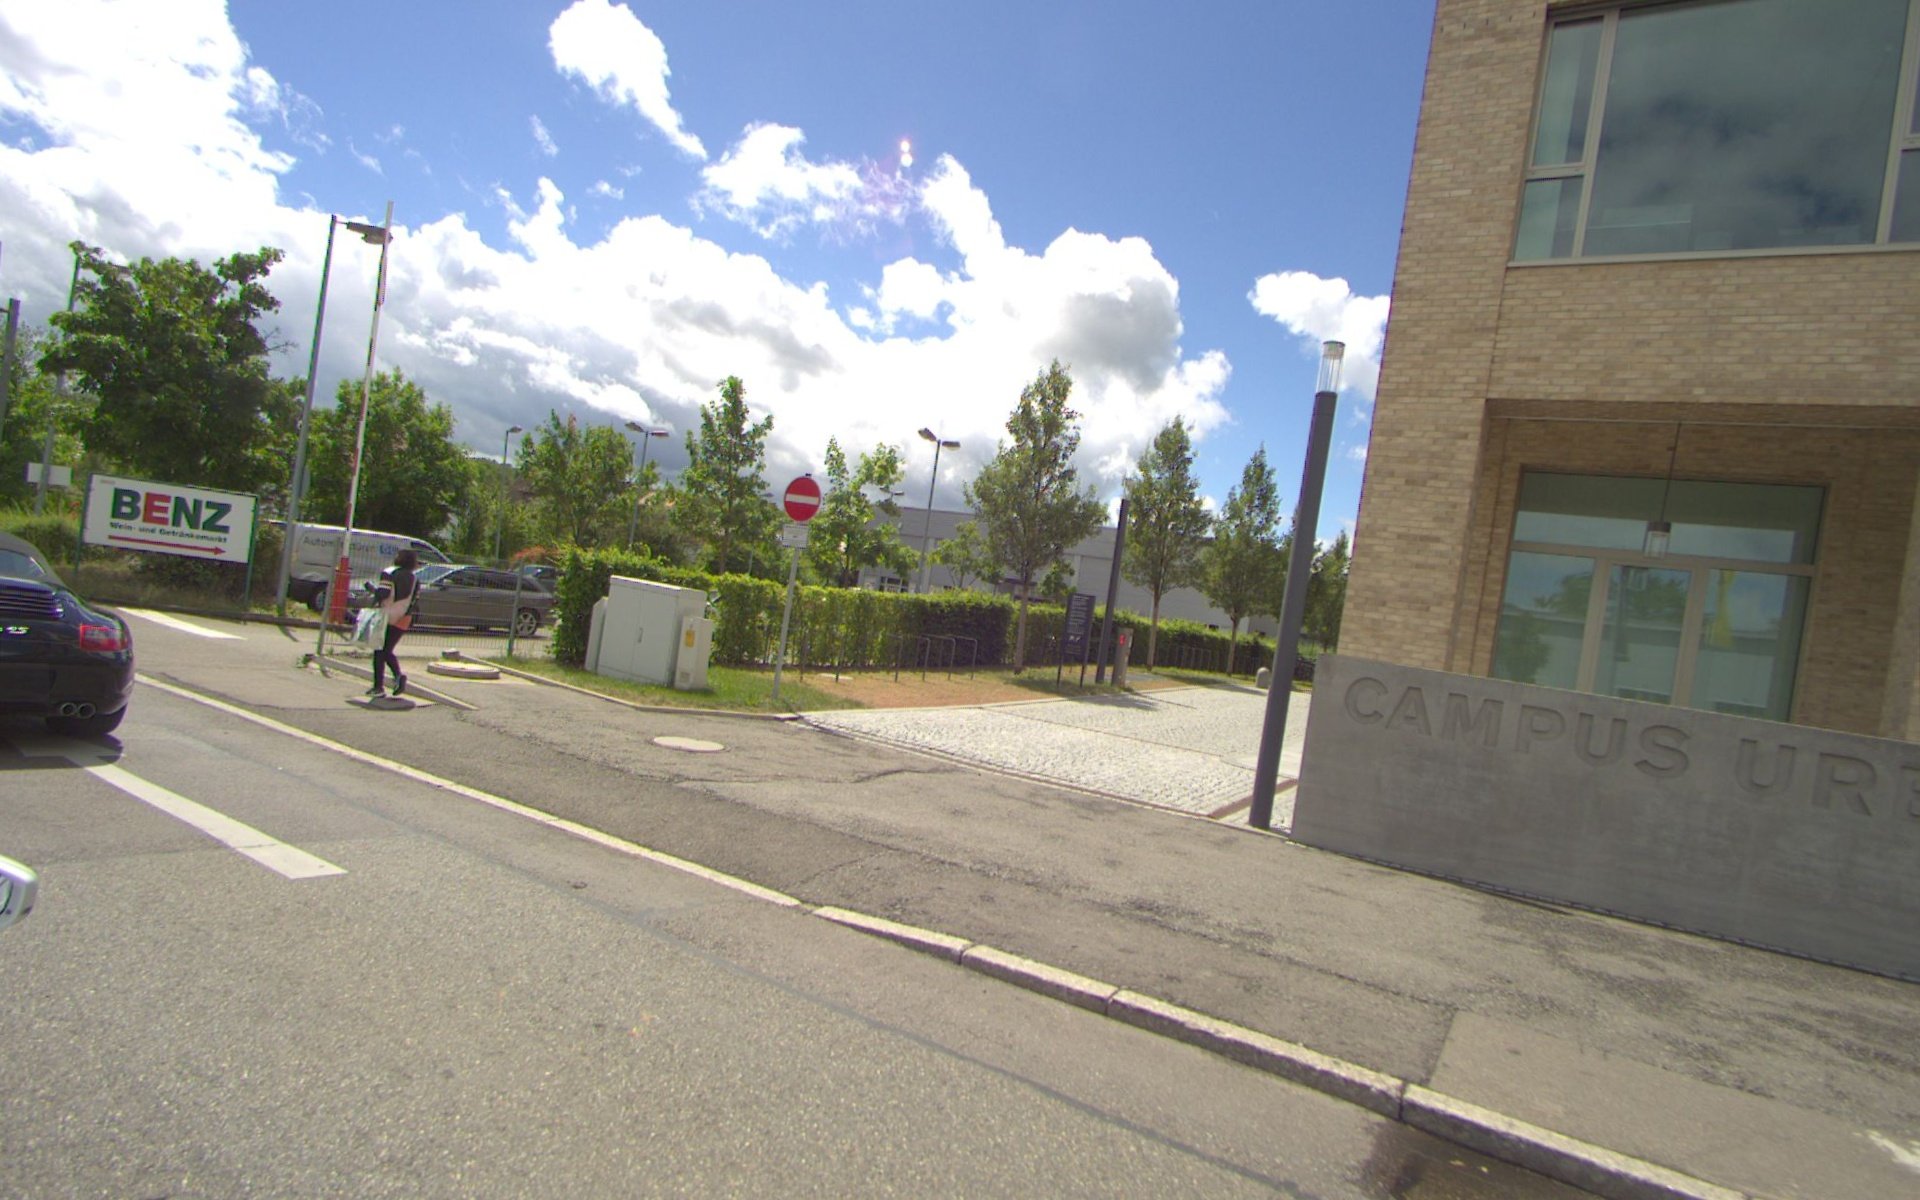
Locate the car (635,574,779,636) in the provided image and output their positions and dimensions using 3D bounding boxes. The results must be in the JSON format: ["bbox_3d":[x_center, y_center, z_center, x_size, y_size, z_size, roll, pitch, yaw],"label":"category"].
[{"bbox_3d":[-8.091,0.214,32.553,1.856,1.509,4.440,8,0,29],"label":"car"}]

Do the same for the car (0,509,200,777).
[{"bbox_3d":[-7.136,0.063,6.752,4.140,1.393,1.933,8,-1,34],"label":"car"}]

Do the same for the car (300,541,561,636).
[{"bbox_3d":[-11.021,-0.181,21.271,1.967,1.500,4.437,6,0,31],"label":"car"}]

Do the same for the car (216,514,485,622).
[{"bbox_3d":[-13.447,-0.634,22.577,2.051,1.871,4.719,6,0,25],"label":"car"}]

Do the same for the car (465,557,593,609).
[{"bbox_3d":[-15.754,-0.588,36.936,1.856,1.386,3.878,8,0,29],"label":"car"}]

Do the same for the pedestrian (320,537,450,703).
[{"bbox_3d":[-5.863,0.211,10.270,0.842,1.555,0.688,8,1,32],"label":"pedestrian"}]
